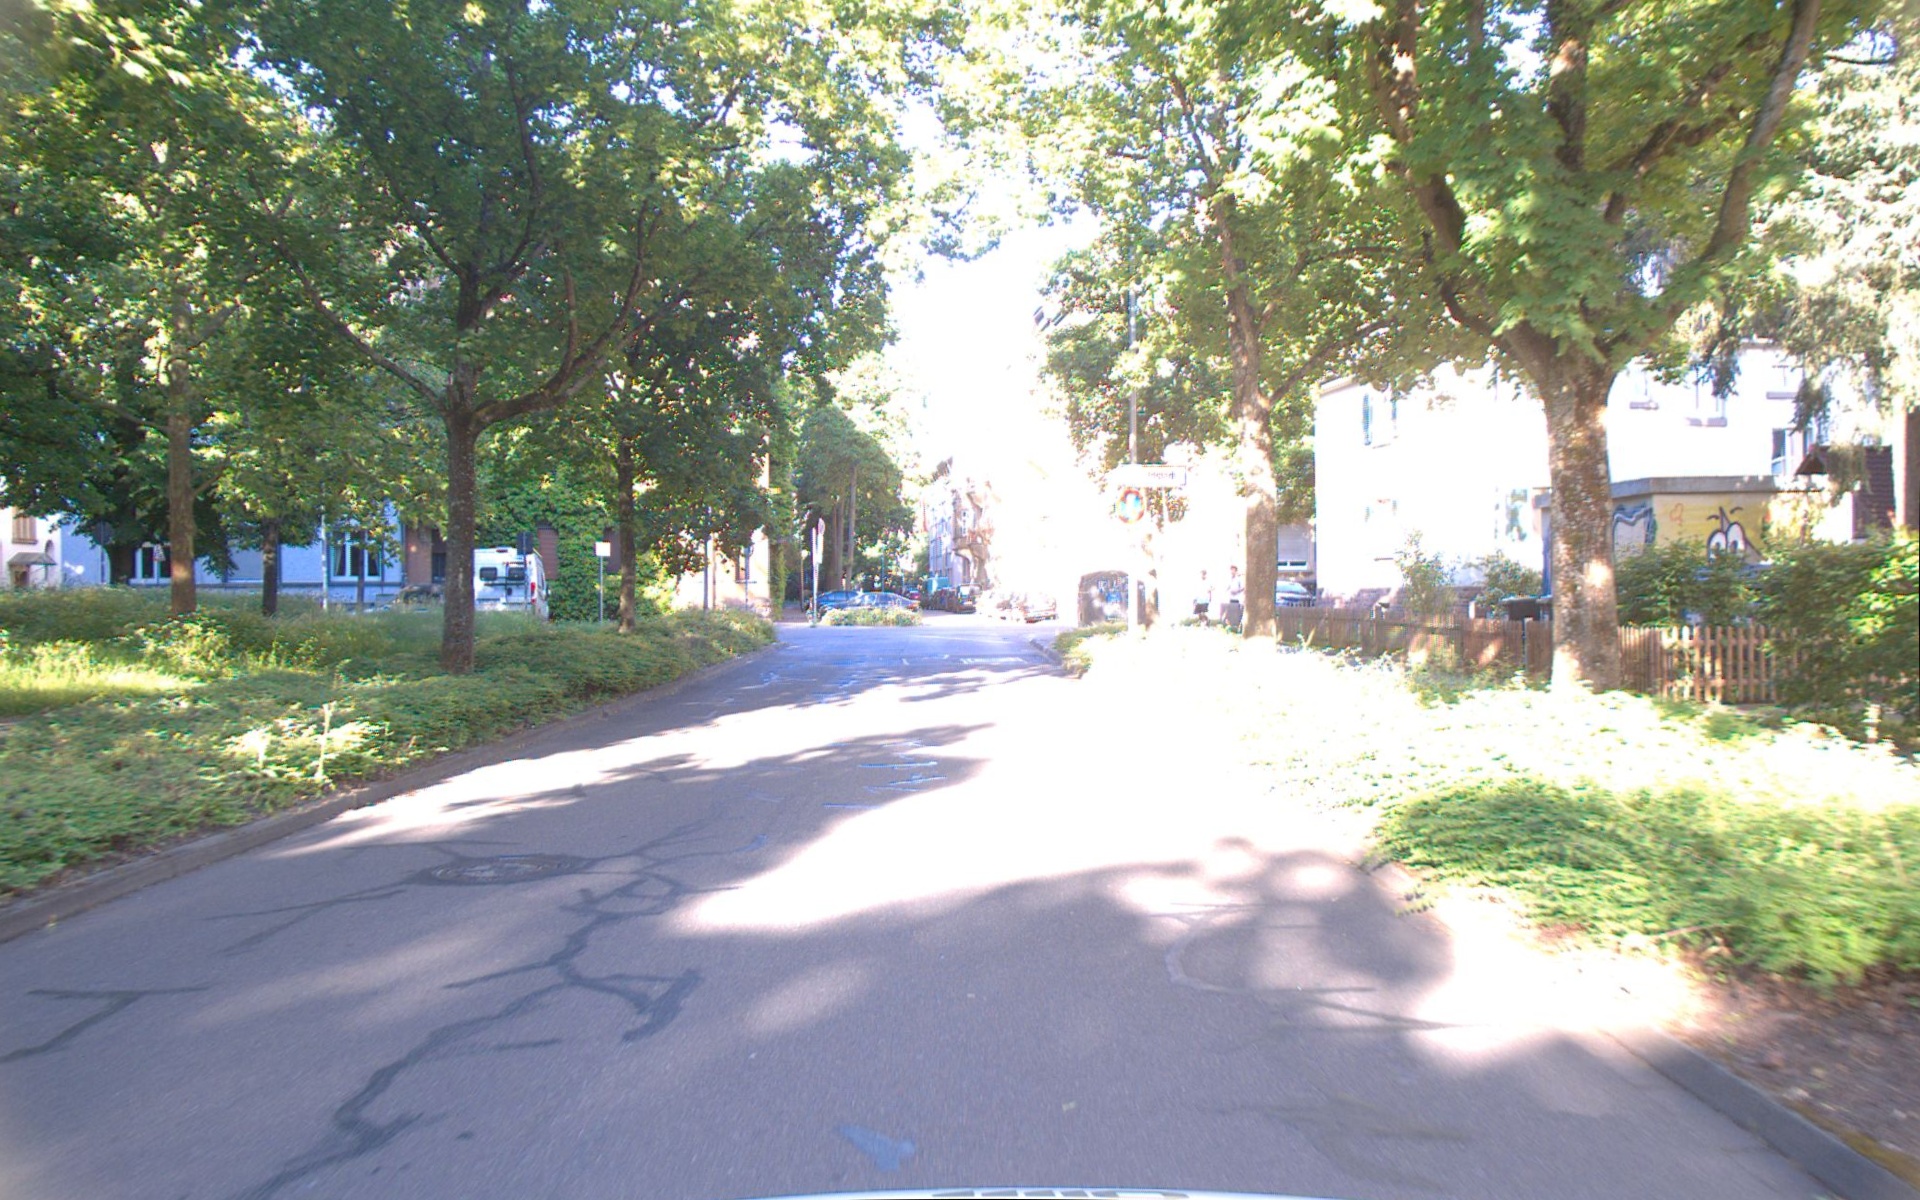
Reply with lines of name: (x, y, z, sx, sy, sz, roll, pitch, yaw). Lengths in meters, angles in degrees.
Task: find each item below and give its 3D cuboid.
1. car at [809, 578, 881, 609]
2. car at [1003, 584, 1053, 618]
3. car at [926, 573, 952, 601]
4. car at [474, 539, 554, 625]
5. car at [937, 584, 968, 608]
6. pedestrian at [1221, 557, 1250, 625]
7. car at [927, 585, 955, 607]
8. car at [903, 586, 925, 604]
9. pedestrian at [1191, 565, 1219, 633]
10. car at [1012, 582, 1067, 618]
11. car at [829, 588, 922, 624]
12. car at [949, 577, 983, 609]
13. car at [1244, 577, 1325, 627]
car: (-5.848, -0.337, 83.998, 3.520, 1.536, 1.497, 1, 0, -9)
car: (3.325, 0.026, 81.155, 1.955, 1.601, 3.996, 1, 0, -5)
car: (-1.667, -1.034, 128.382, 1.775, 2.086, 3.997, 1, 0, -4)
car: (-13.761, -0.549, 51.228, 1.957, 2.552, 3.992, 0, 0, -9)
car: (-0.525, -0.290, 111.655, 1.775, 1.527, 3.997, 1, 0, -4)
pedestrian: (7.849, -0.262, 47.154, 0.604, 1.903, 0.694, 1, 0, -8)
car: (-1.401, -0.322, 118.183, 1.775, 1.527, 3.997, 1, 0, -4)
car: (-4.041, -0.474, 145.331, 1.775, 1.527, 3.997, 1, 0, -4)
pedestrian: (6.969, -0.033, 47.117, 0.604, 1.903, 0.694, 1, 0, -8)
car: (3.574, -0.012, 74.900, 1.777, 1.527, 3.993, -1, 1, -8)
car: (-3.737, 0.251, 72.680, 3.912, 1.527, 1.814, 1, 0, -9)
car: (0.352, -0.449, 103.361, 1.775, 1.959, 3.997, 1, 0, -4)
car: (10.754, 0.061, 55.047, 1.953, 1.612, 3.639, 0, 0, -1)
